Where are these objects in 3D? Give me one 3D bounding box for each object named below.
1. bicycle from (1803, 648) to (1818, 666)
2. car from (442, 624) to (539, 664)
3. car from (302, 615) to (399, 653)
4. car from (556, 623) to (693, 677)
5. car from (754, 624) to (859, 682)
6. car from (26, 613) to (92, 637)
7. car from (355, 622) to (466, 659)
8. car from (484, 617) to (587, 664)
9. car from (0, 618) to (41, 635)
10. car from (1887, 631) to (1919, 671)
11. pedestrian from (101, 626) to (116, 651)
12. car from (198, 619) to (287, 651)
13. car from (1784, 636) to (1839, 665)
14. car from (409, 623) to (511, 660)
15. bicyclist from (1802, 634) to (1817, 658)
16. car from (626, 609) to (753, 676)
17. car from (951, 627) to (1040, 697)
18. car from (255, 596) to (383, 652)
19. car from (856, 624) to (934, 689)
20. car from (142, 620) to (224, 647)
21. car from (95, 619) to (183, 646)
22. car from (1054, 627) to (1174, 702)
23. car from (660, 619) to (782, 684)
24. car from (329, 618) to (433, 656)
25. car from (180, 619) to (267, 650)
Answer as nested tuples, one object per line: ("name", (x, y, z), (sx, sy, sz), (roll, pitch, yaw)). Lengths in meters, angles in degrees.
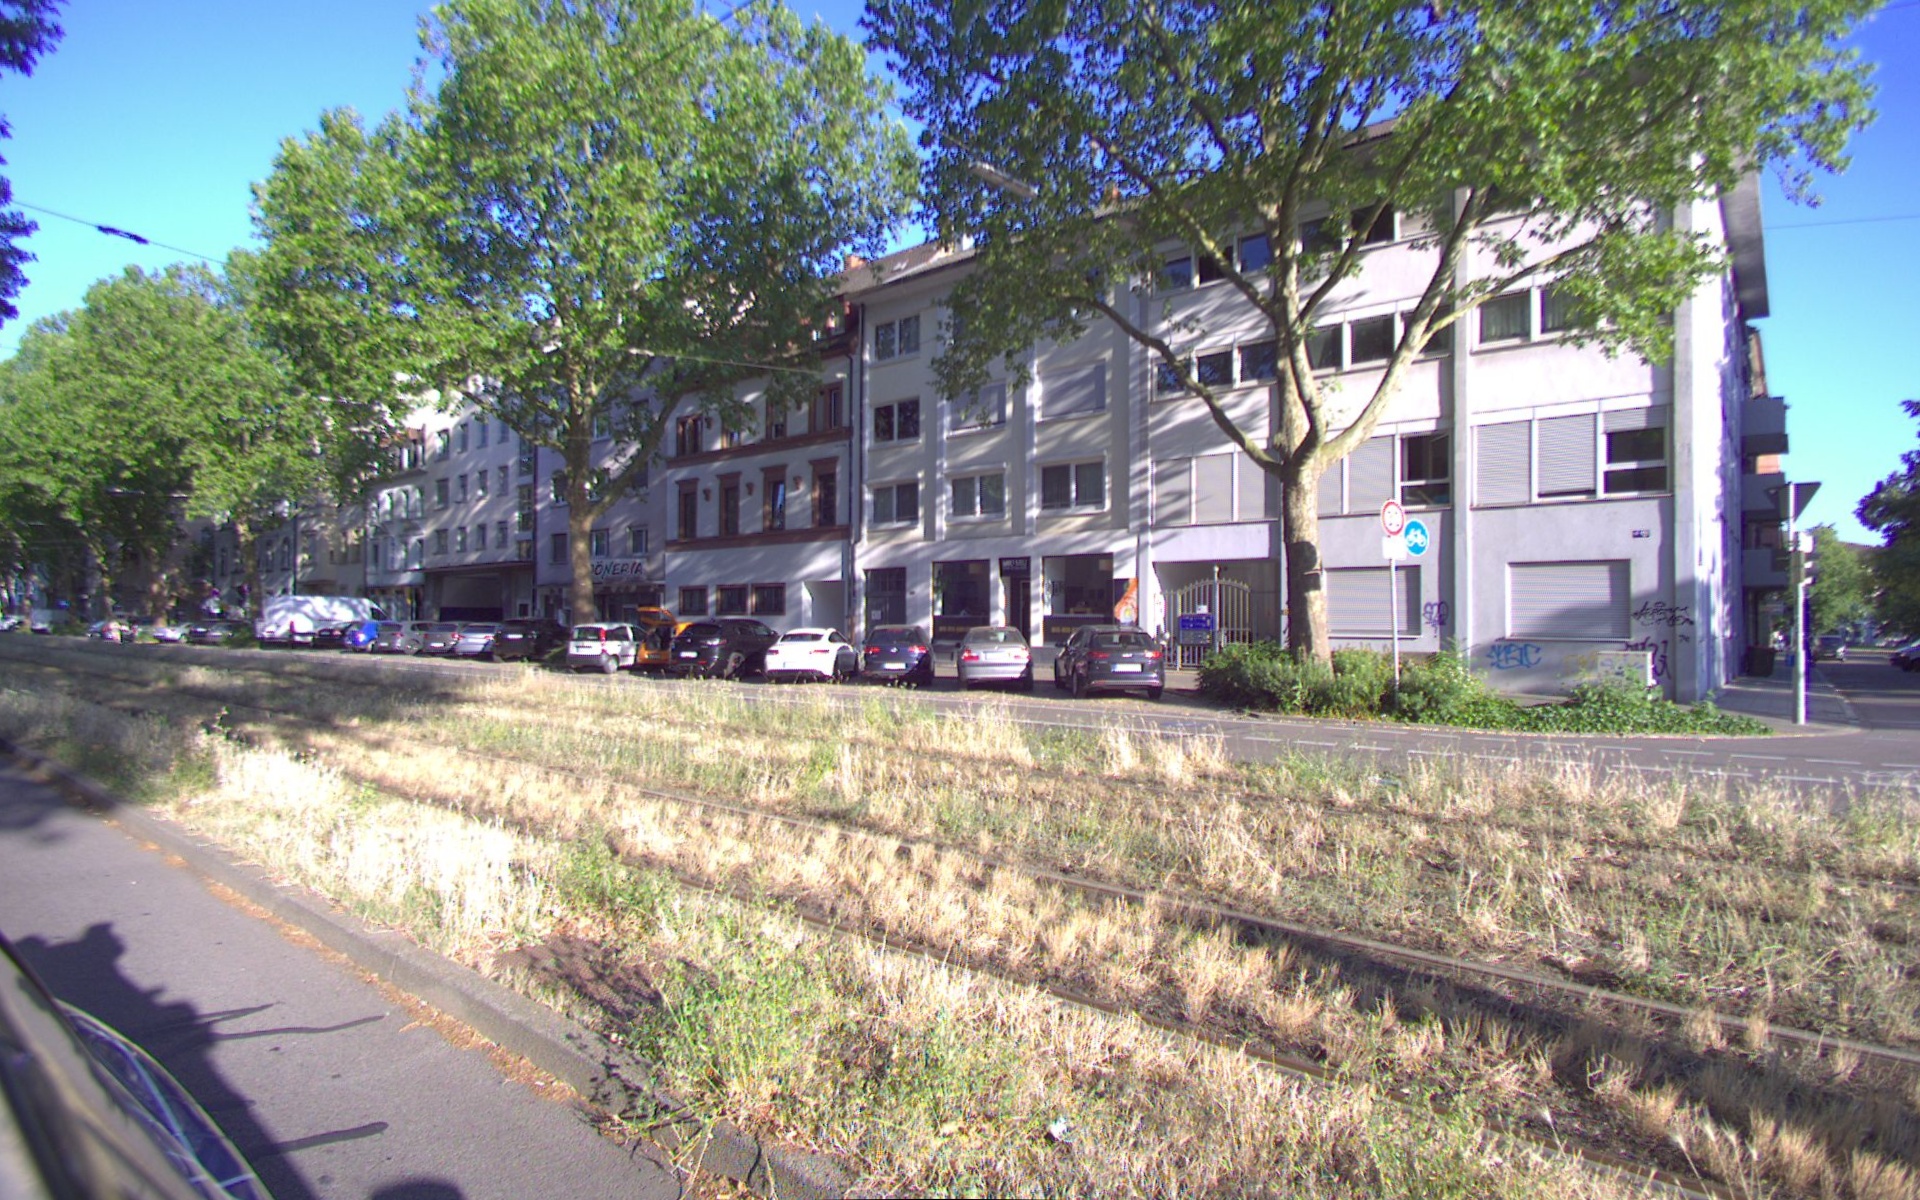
("bicycle", (49.610, 3.339, 59.053), (0.632, 0.988, 1.962), (-1, -2, 41))
("car", (-18.279, 1.687, 39.602), (1.582, 1.470, 4.251), (0, -2, 4))
("car", (-30.877, 1.711, 51.392), (1.980, 1.829, 3.982), (0, -2, 13))
("car", (-10.431, 1.529, 31.793), (1.634, 1.569, 4.221), (0, -2, 25))
("car", (-3.941, 1.345, 26.674), (2.123, 1.388, 4.257), (0, -2, 0))
("car", (-88.496, 2.462, 99.492), (2.071, 2.230, 4.943), (0, -2, -2))
("car", (-24.008, 1.741, 44.393), (1.985, 1.529, 3.973), (0, -2, 20))
("car", (-15.526, 1.472, 37.279), (1.882, 1.626, 4.254), (0, -2, 2))
("car", (-106.809, 2.986, 114.536), (3.937, 1.826, 1.876), (2, -2, -40))
("car", (50.743, 2.602, 51.113), (5.395, 2.029, 1.983), (0, -2, 26))
("pedestrian", (-55.354, 2.520, 65.785), (0.422, 1.610, 0.612), (-1, -2, 41))
("car", (-42.707, 2.066, 60.354), (1.980, 1.829, 3.982), (0, -2, 13))
("car", (62.153, 3.661, 73.944), (1.991, 2.029, 5.371), (-1, -2, 29))
("car", (-20.616, 1.691, 41.913), (1.883, 1.468, 4.251), (0, -2, 4))
("bicyclist", (49.406, 2.663, 58.836), (0.632, 1.341, 0.956), (-1, -2, 41))
("car", (-8.434, 1.317, 31.923), (1.508, 1.958, 4.221), (0, -2, 25))
("car", (0.724, 1.363, 23.356), (1.717, 1.443, 3.973), (-1, -1, -2))
("car", (-33.244, 1.256, 52.740), (2.161, 2.721, 5.583), (0, -2, 16))
("car", (-1.607, 1.376, 25.705), (1.805, 1.516, 3.973), (0, -2, -2))
("car", (-51.857, 2.242, 67.661), (1.980, 1.719, 3.982), (0, -2, 13))
("car", (-54.933, 2.171, 67.767), (1.996, 1.719, 4.184), (-1, -2, 36))
("car", (3.133, 1.286, 21.353), (1.746, 1.442, 3.973), (0, -2, -2))
("car", (-6.649, 1.397, 28.661), (2.126, 1.697, 4.250), (0, -2, 6))
("car", (-26.437, 1.675, 46.364), (1.980, 1.630, 3.982), (0, -2, 13))
("car", (-45.302, 2.106, 62.348), (1.980, 1.829, 3.982), (0, -2, 13))
